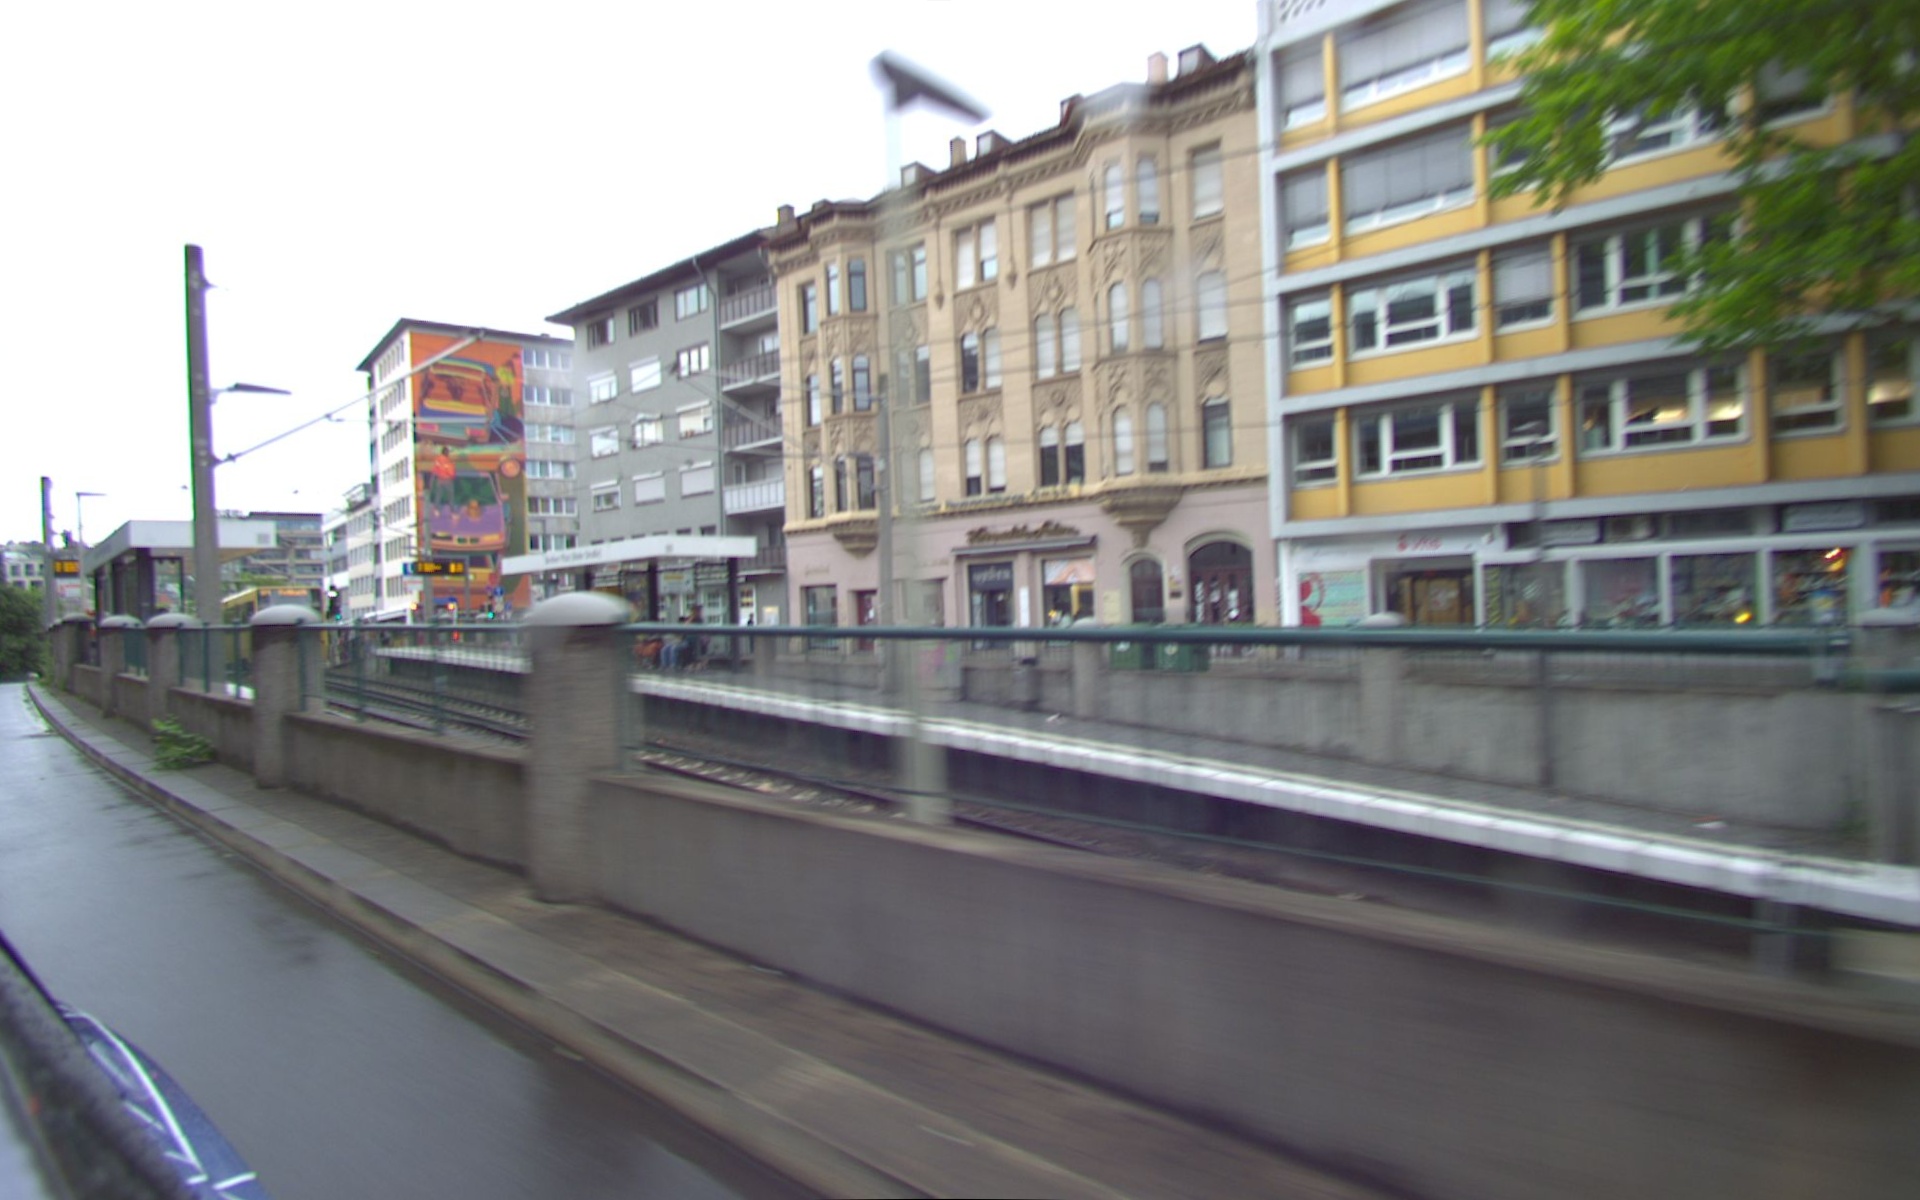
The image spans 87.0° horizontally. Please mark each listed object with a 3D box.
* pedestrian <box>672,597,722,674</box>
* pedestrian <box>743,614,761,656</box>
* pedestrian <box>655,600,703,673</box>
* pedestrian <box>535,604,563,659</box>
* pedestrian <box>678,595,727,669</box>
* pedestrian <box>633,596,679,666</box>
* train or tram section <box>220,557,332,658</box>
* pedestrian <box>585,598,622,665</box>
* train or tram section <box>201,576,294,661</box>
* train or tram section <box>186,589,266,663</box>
[{"bbox_3d":[-5.857,0.794,22.541,0.669,1.661,0.897,5,-5,-40],"label":"pedestrian"},{"bbox_3d":[-8.588,1.438,41.775,0.416,1.695,0.609,-3,-1,-33],"label":"pedestrian"},{"bbox_3d":[-6.703,0.881,24.124,0.762,1.661,0.778,6,-6,-40],"label":"pedestrian"},{"bbox_3d":[-11.764,0.885,28.973,0.551,1.549,0.517,-1,0,-44],"label":"pedestrian"},{"bbox_3d":[-5.994,0.755,23.586,0.762,1.661,0.778,6,-6,-40],"label":"pedestrian"},{"bbox_3d":[-7.481,0.771,24.912,0.762,1.661,0.778,6,-6,-40],"label":"pedestrian"},{"bbox_3d":[-30.081,0.455,44.271,2.745,3.720,9.727,-3,-2,-41],"label":"train or tram section"},{"bbox_3d":[-9.074,0.796,25.735,0.625,1.673,0.683,-2,-1,-41],"label":"pedestrian"},{"bbox_3d":[-36.399,1.035,51.526,2.745,3.720,9.522,-3,-2,-41],"label":"train or tram section"},{"bbox_3d":[-42.681,1.623,58.695,2.745,3.720,9.522,-3,-2,-41],"label":"train or tram section"}]
